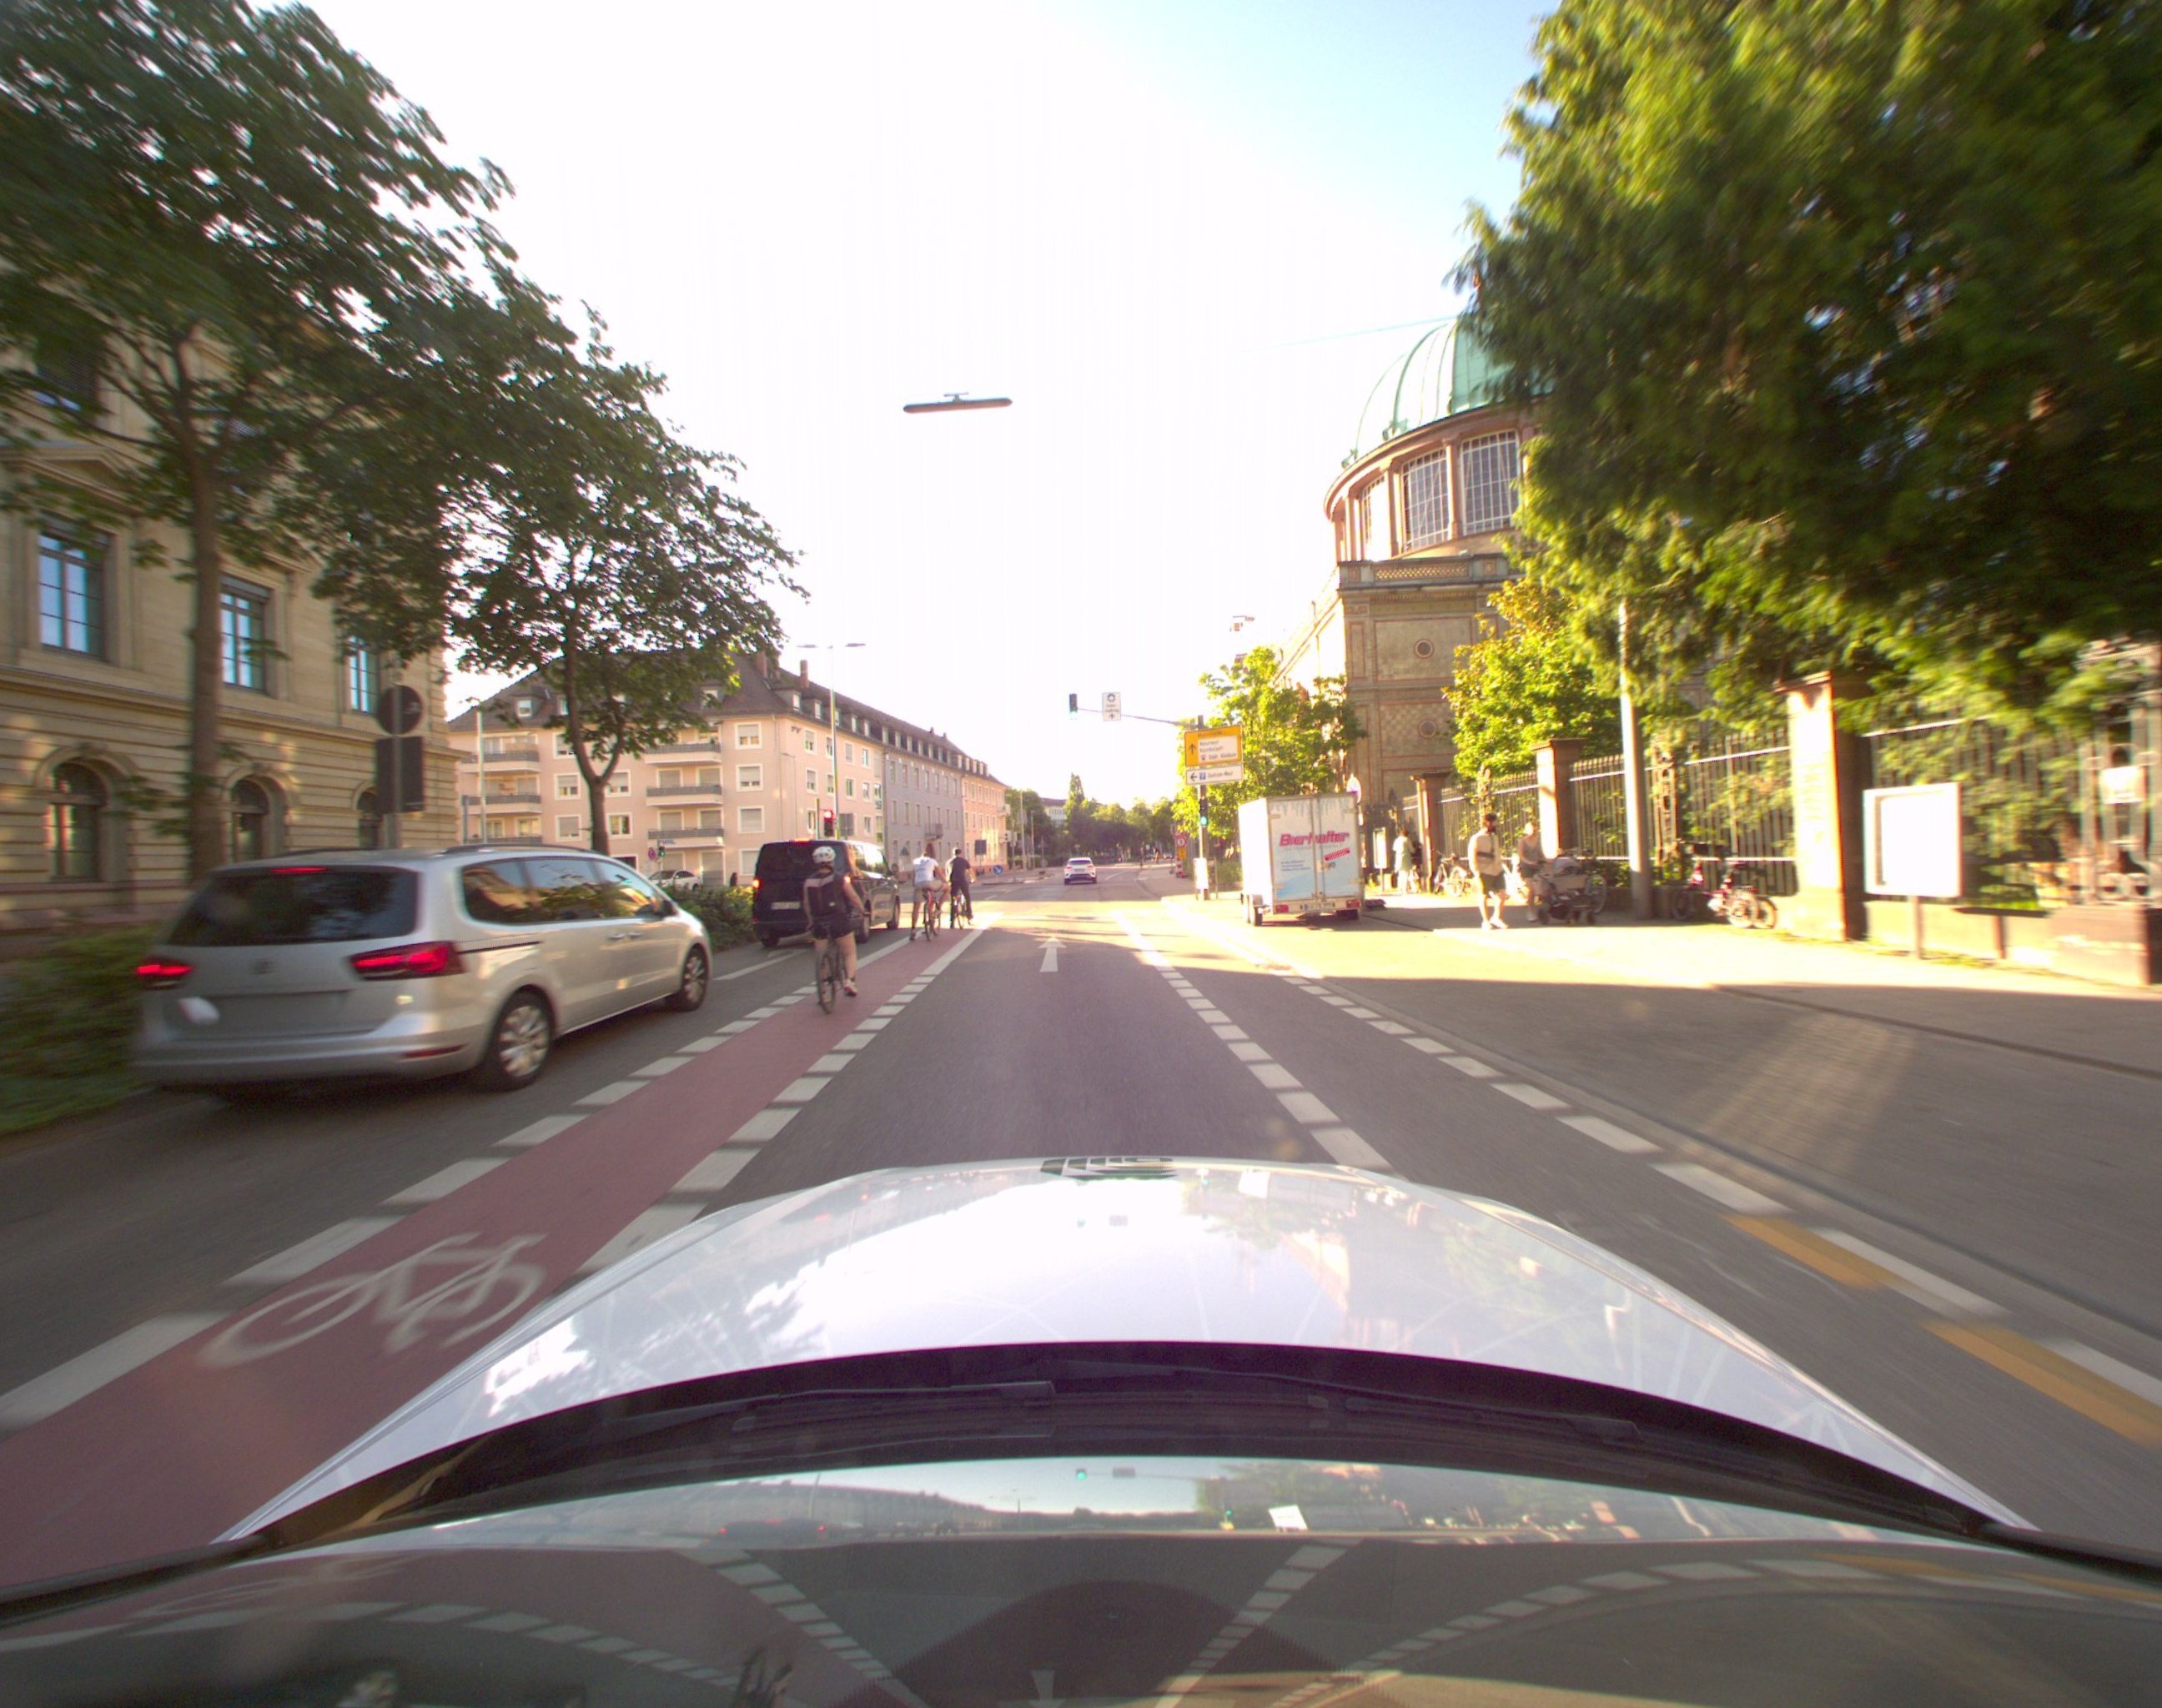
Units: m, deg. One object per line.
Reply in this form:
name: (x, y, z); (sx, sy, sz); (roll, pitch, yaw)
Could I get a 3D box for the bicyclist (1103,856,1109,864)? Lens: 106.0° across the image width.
bicyclist: (4.490, 1.074, 146.557); (0.732, 1.485, 0.668); (-4, -1, 14)

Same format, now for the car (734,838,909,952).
car: (-5.147, 0.757, 16.992); (2.062, 1.915, 5.030); (-3, -1, -2)

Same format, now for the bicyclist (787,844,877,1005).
bicyclist: (-2.693, 0.735, 8.893); (0.670, 1.652, 0.887); (-2, 0, -1)

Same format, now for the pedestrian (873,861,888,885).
pedestrian: (-15.828, 1.490, 64.302); (0.863, 1.863, 1.017); (0, 0, 8)

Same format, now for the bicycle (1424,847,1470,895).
bicycle: (8.931, 0.396, 19.919); (0.397, 1.105, 1.682); (-4, 0, 4)

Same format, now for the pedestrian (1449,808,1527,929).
pedestrian: (6.692, 0.229, 13.442); (0.713, 1.894, 0.888); (-3, 0, -3)

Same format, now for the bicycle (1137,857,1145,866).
bicycle: (6.815, 0.837, 92.419); (0.639, 1.024, 2.218); (-1, 0, 9)

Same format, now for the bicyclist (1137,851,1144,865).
bicyclist: (6.785, 0.432, 92.279); (0.632, 1.614, 1.287); (-2, 0, 8)

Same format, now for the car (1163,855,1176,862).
car: (20.585, 1.089, 189.133); (1.796, 1.419, 4.577); (-3, 0, 19)

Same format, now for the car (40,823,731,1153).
car: (-4.918, 0.749, 6.973); (1.987, 1.749, 4.740); (-3, 0, -4)

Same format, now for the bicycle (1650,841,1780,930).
bicycle: (9.060, 0.415, 11.734); (0.417, 1.156, 1.827); (-4, 0, 2)

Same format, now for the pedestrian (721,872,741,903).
pedestrian: (-18.397, 1.749, 42.861); (0.628, 1.583, 0.820); (0, 0, 7)

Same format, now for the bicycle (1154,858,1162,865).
bicycle: (11.209, 1.103, 118.173); (0.747, 1.026, 1.877); (-1, -1, 15)

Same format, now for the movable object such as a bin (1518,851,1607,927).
movable object such as a bin: (7.721, 0.537, 13.096); (0.709, 1.117, 1.050); (-4, 0, -3)

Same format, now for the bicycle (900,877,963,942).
bicycle: (-2.952, 1.070, 16.312); (0.825, 1.143, 1.970); (-2, 0, 2)

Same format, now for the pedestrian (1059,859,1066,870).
pedestrian: (-3.153, 1.760, 136.907); (0.850, 1.851, 1.005); (-3, -1, 13)

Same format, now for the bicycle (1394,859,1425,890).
bicycle: (9.103, 0.553, 22.597); (0.263, 0.793, 1.451); (-3, 0, 0)

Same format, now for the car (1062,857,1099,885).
car: (0.006, 0.973, 46.894); (1.986, 1.453, 4.000); (-3, 0, 1)

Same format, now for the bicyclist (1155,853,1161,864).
bicyclist: (11.183, 0.645, 118.192); (0.742, 1.537, 0.973); (-2, 0, 15)

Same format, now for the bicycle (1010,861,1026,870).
bicycle: (-9.372, 1.759, 121.619); (2.303, 1.230, 0.562); (-3, 0, 14)

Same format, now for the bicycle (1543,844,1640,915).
bicycle: (8.787, 0.406, 14.106); (0.394, 1.130, 1.927); (-3, 0, -1)

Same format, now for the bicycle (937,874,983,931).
bicycle: (-2.734, 1.075, 18.585); (0.639, 1.155, 2.078); (-2, 0, 2)

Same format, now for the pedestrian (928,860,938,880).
pedestrian: (-14.115, 1.514, 77.636); (0.628, 1.846, 1.015); (0, 0, 7)

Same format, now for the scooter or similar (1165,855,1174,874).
scooter or similar: (6.178, 0.734, 56.841); (0.552, 1.308, 1.835); (-3, 0, 7)

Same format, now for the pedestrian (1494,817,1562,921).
pedestrian: (7.676, 0.254, 14.002); (0.680, 1.701, 0.693); (-3, 0, -2)

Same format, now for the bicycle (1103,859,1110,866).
bicycle: (4.505, 1.509, 146.473); (0.732, 0.995, 2.118); (-3, 1, 15)

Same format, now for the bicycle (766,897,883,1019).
bicycle: (-2.683, 1.045, 8.728); (0.667, 1.072, 1.753); (-2, 0, 0)

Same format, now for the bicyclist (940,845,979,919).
bicyclist: (-2.758, 0.619, 18.546); (0.667, 1.608, 0.825); (-3, 0, 1)

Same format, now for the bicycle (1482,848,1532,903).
bicycle: (8.966, 0.429, 17.185); (0.272, 1.105, 1.533); (-4, 0, 4)

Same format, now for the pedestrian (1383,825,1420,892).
pedestrian: (8.633, 0.118, 21.974); (0.637, 1.768, 0.738); (-3, 0, 2)

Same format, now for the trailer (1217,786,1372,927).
trailer: (4.426, 0.048, 17.706); (2.072, 2.528, 4.492); (-4, 0, 0)

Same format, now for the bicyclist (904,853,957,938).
bicyclist: (-2.968, 0.803, 16.100); (0.800, 1.608, 0.825); (-3, 0, 1)
